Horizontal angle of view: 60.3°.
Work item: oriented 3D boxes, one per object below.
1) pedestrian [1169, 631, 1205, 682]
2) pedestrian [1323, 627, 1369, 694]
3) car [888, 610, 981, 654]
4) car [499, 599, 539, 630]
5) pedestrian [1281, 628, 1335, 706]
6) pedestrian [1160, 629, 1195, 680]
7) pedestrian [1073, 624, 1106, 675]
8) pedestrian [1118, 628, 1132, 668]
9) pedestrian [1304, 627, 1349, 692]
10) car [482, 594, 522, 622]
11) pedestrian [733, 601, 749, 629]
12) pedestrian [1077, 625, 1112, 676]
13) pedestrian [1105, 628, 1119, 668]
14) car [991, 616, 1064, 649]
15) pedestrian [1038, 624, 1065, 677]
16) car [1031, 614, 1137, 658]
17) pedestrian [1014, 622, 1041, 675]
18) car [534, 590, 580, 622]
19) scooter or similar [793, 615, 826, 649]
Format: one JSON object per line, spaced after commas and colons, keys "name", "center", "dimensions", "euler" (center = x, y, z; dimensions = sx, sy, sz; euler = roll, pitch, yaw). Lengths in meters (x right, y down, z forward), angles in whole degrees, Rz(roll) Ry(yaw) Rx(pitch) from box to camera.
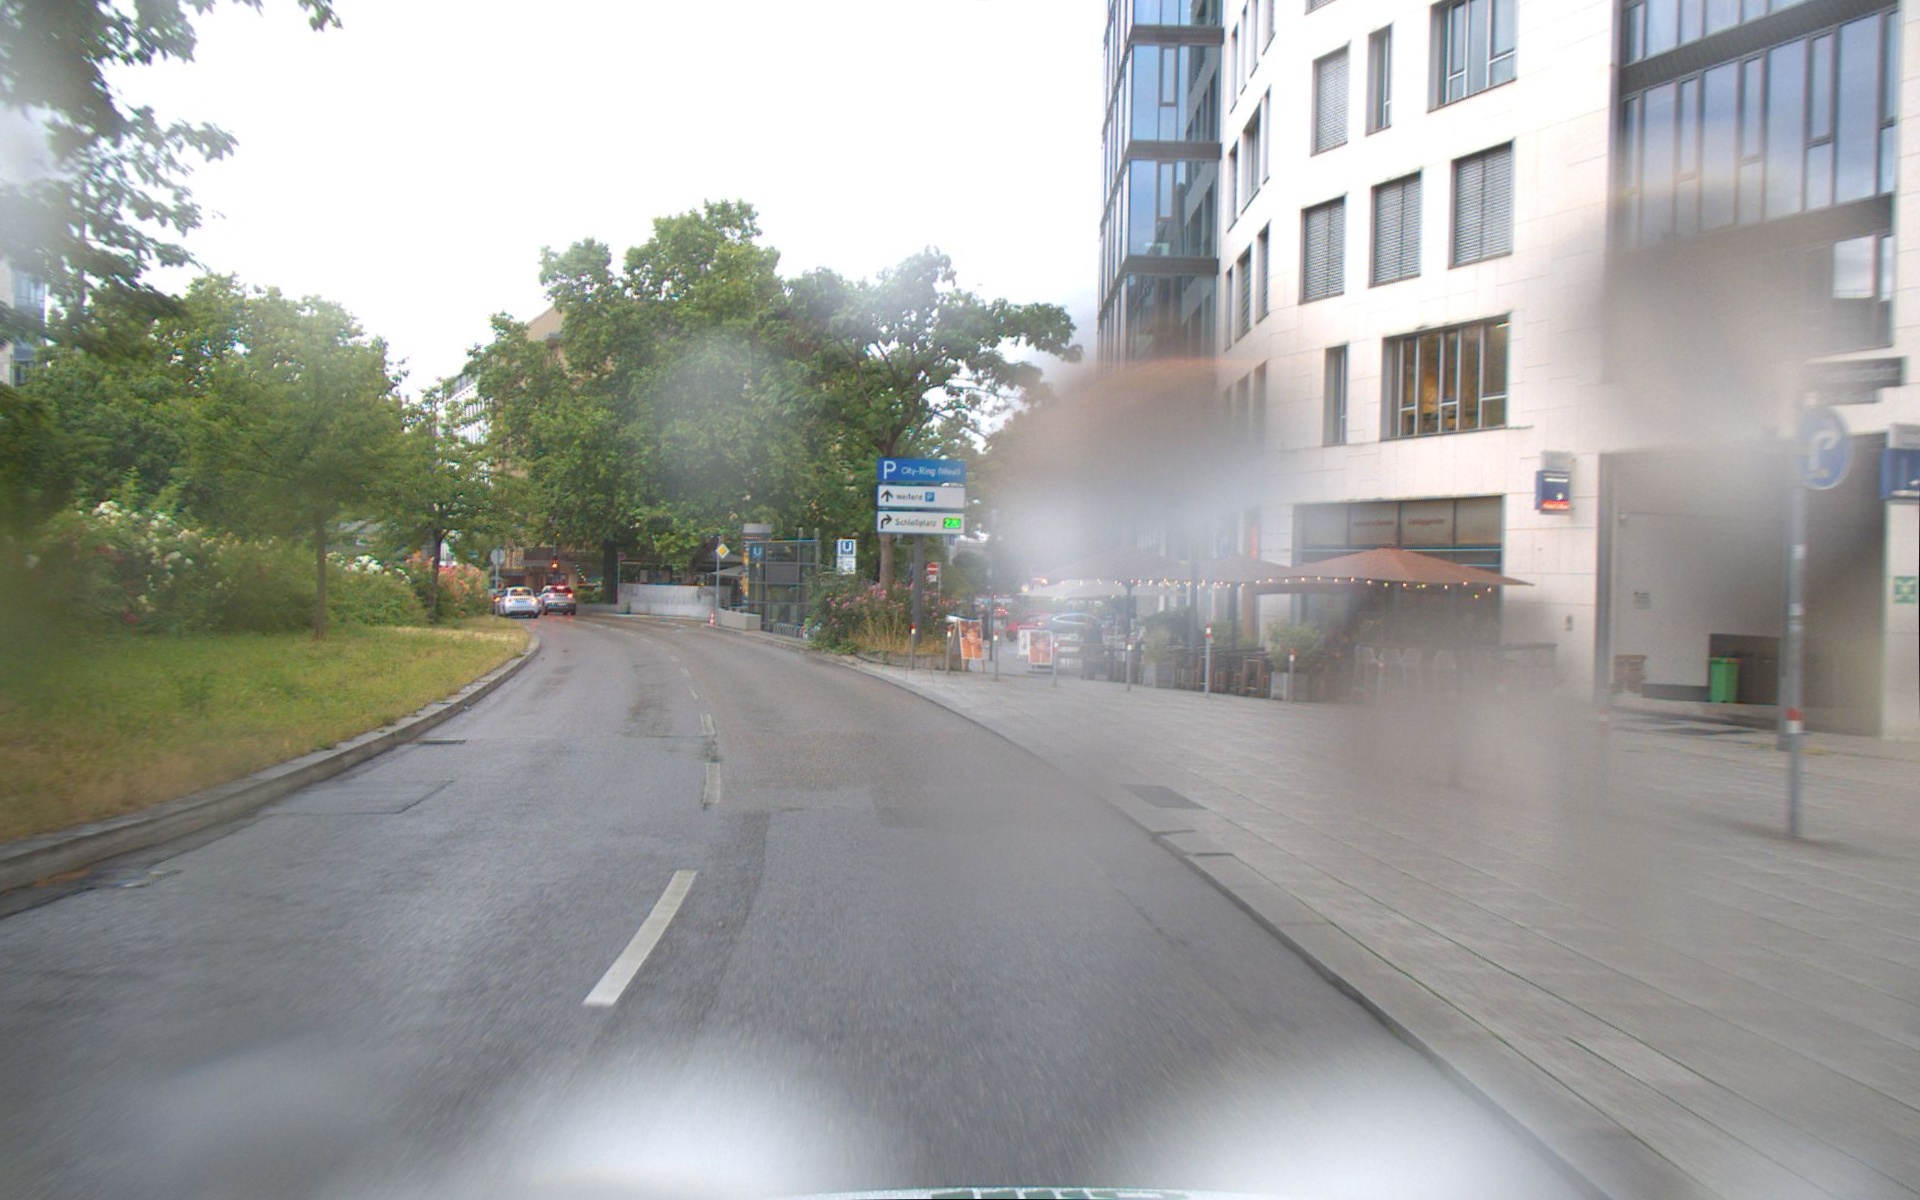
{"name": "pedestrian", "center": [6.258, 1.546, 45.563], "dimensions": [0.801, 1.349, 0.635], "euler": [4, -1, -3]}
{"name": "pedestrian", "center": [8.104, 1.264, 34.743], "dimensions": [0.618, 1.349, 0.631], "euler": [4, -1, -23]}
{"name": "car", "center": [-1.178, 1.439, 74.594], "dimensions": [4.016, 1.649, 1.861], "euler": [5, -2, -3]}
{"name": "car", "center": [-22.222, 0.729, 83.255], "dimensions": [1.568, 1.517, 3.482], "euler": [-1, 0, -22]}
{"name": "pedestrian", "center": [6.334, 1.211, 30.151], "dimensions": [0.758, 1.349, 0.635], "euler": [4, -1, -3]}
{"name": "pedestrian", "center": [6.106, 1.523, 46.367], "dimensions": [0.801, 1.349, 0.635], "euler": [4, -1, -3]}
{"name": "pedestrian", "center": [3.621, 1.383, 46.308], "dimensions": [0.801, 1.349, 0.635], "euler": [4, -1, -3]}
{"name": "pedestrian", "center": [5.924, 1.717, 59.430], "dimensions": [0.426, 1.428, 0.478], "euler": [1, -1, 0]}
{"name": "pedestrian", "center": [7.858, 1.275, 35.477], "dimensions": [0.618, 1.349, 0.631], "euler": [4, -1, -23]}
{"name": "car", "center": [-24.763, 0.417, 89.400], "dimensions": [1.667, 1.489, 4.103], "euler": [-1, 0, -22]}
{"name": "pedestrian", "center": [-11.680, 0.794, 88.194], "dimensions": [0.674, 1.435, 0.900], "euler": [4, -2, -17]}
{"name": "pedestrian", "center": [3.693, 1.390, 45.477], "dimensions": [0.801, 1.349, 0.635], "euler": [4, -1, -3]}
{"name": "pedestrian", "center": [5.427, 1.704, 59.040], "dimensions": [0.426, 1.428, 0.478], "euler": [1, -1, 0]}
{"name": "car", "center": [3.339, 1.592, 82.135], "dimensions": [1.600, 1.441, 3.475], "euler": [4, -1, -42]}
{"name": "pedestrian", "center": [2.423, 1.336, 43.759], "dimensions": [0.594, 1.349, 0.567], "euler": [4, -1, -3]}
{"name": "car", "center": [5.553, 1.608, 74.478], "dimensions": [4.637, 1.720, 2.005], "euler": [2, 0, 1]}
{"name": "pedestrian", "center": [1.777, 1.284, 43.643], "dimensions": [0.594, 1.349, 0.567], "euler": [4, -1, -3]}
{"name": "car", "center": [-22.926, 0.354, 93.925], "dimensions": [1.919, 1.695, 4.317], "euler": [2, -1, -22]}
{"name": "scooter or similar", "center": [-5.421, 1.139, 59.691], "dimensions": [1.095, 1.178, 0.441], "euler": [2, -1, -17]}
